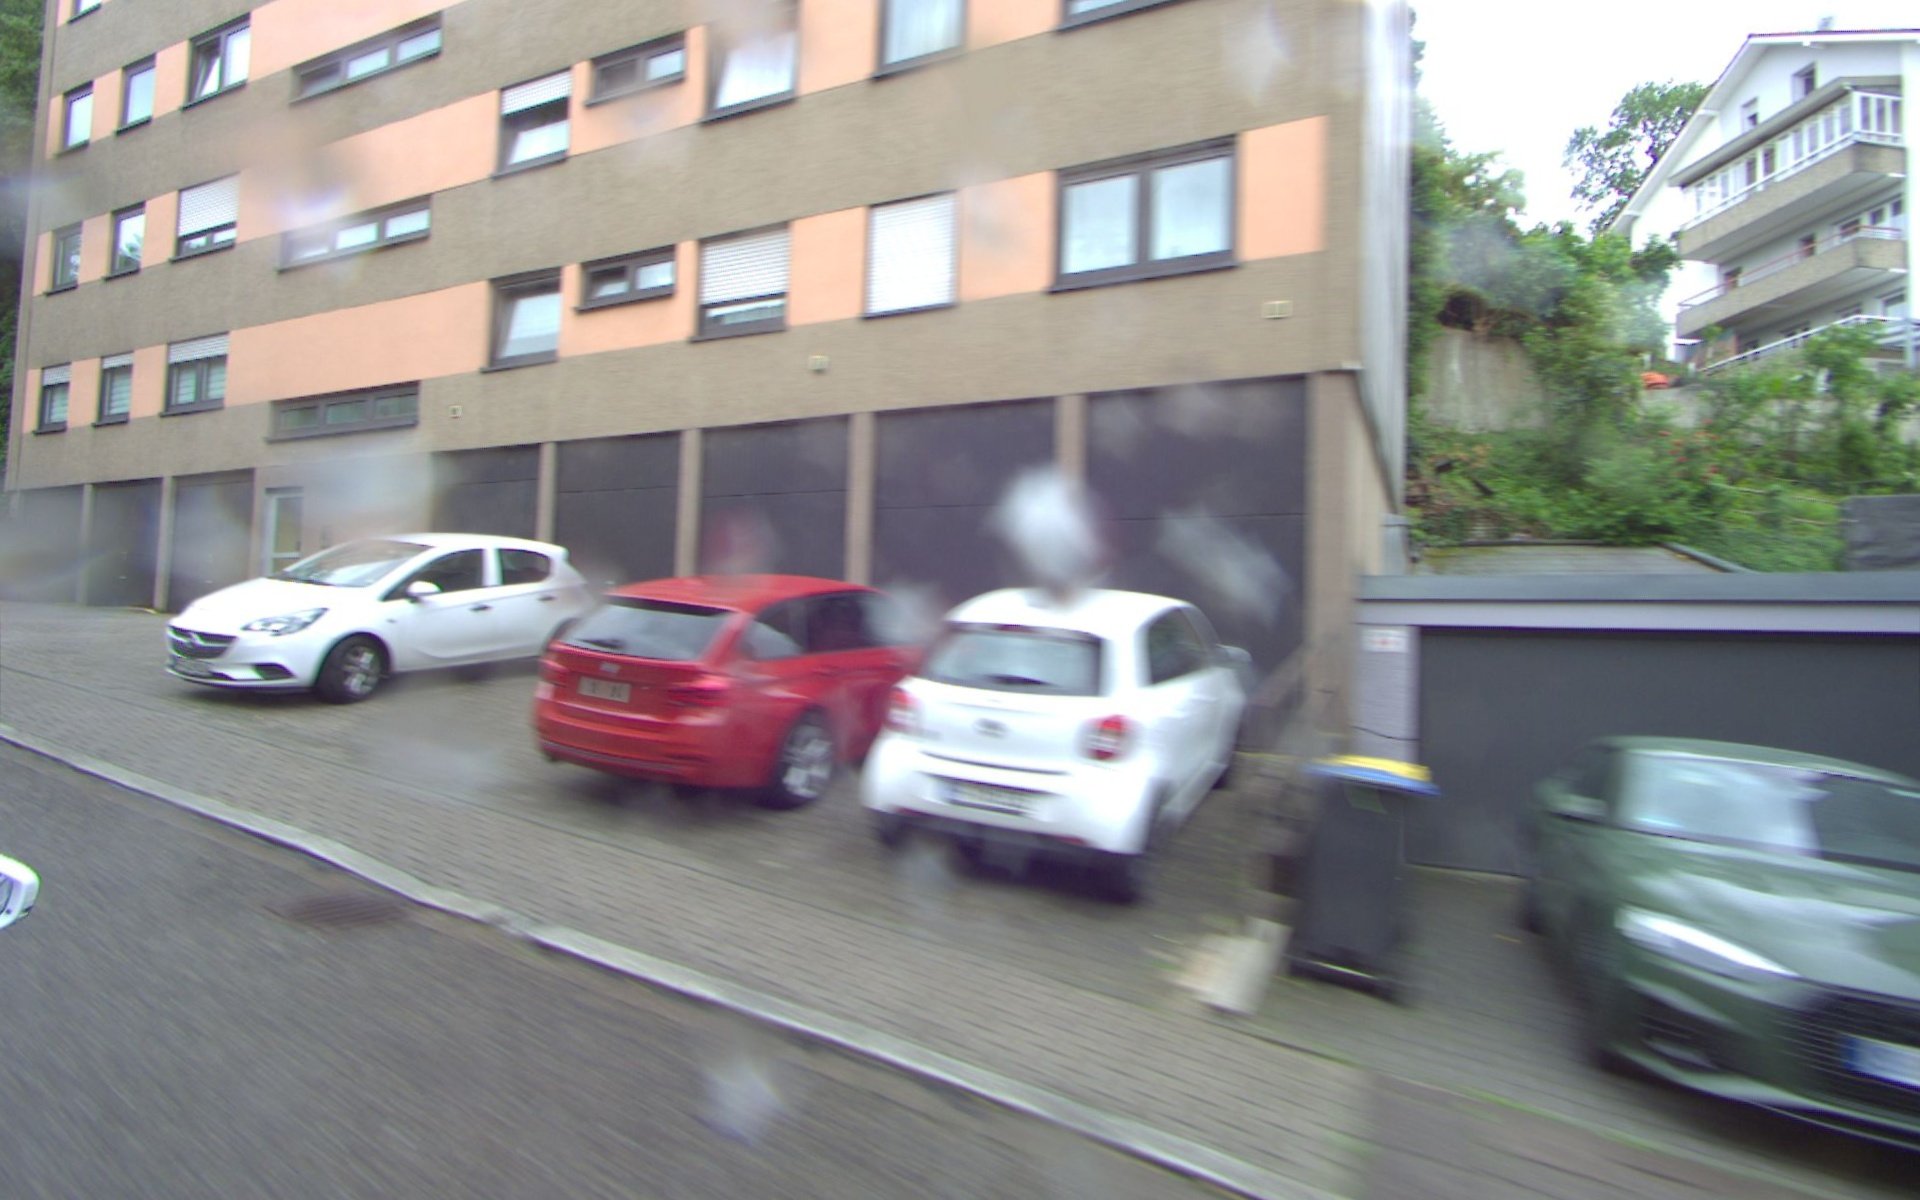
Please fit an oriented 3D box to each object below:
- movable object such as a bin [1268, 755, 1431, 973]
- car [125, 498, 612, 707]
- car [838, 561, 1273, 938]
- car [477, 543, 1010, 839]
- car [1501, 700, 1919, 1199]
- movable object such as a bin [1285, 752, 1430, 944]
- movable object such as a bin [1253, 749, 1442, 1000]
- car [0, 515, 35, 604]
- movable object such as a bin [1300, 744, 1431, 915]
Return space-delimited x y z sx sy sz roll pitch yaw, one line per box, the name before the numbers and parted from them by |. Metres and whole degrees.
movable object such as a bin | 2.274 1.477 5.838 0.758 1.032 0.725 4 -4 25
car | -5.578 -0.032 10.081 1.661 1.551 3.966 7 3 22
car | 0.946 0.693 7.013 1.697 1.726 3.828 7 4 25
car | -1.345 0.431 8.062 1.843 1.552 4.342 7 5 25
car | 4.044 1.397 5.092 1.860 1.483 4.282 7 -2 25
movable object such as a bin | 2.594 1.564 6.537 0.758 1.032 0.725 4 -4 25
movable object such as a bin | 1.973 1.326 5.096 0.758 1.032 0.725 4 -4 25
car | -18.304 -1.048 16.449 1.728 1.511 4.218 7 -5 24
movable object such as a bin | 2.930 1.609 7.242 0.758 1.032 0.725 4 -4 25
